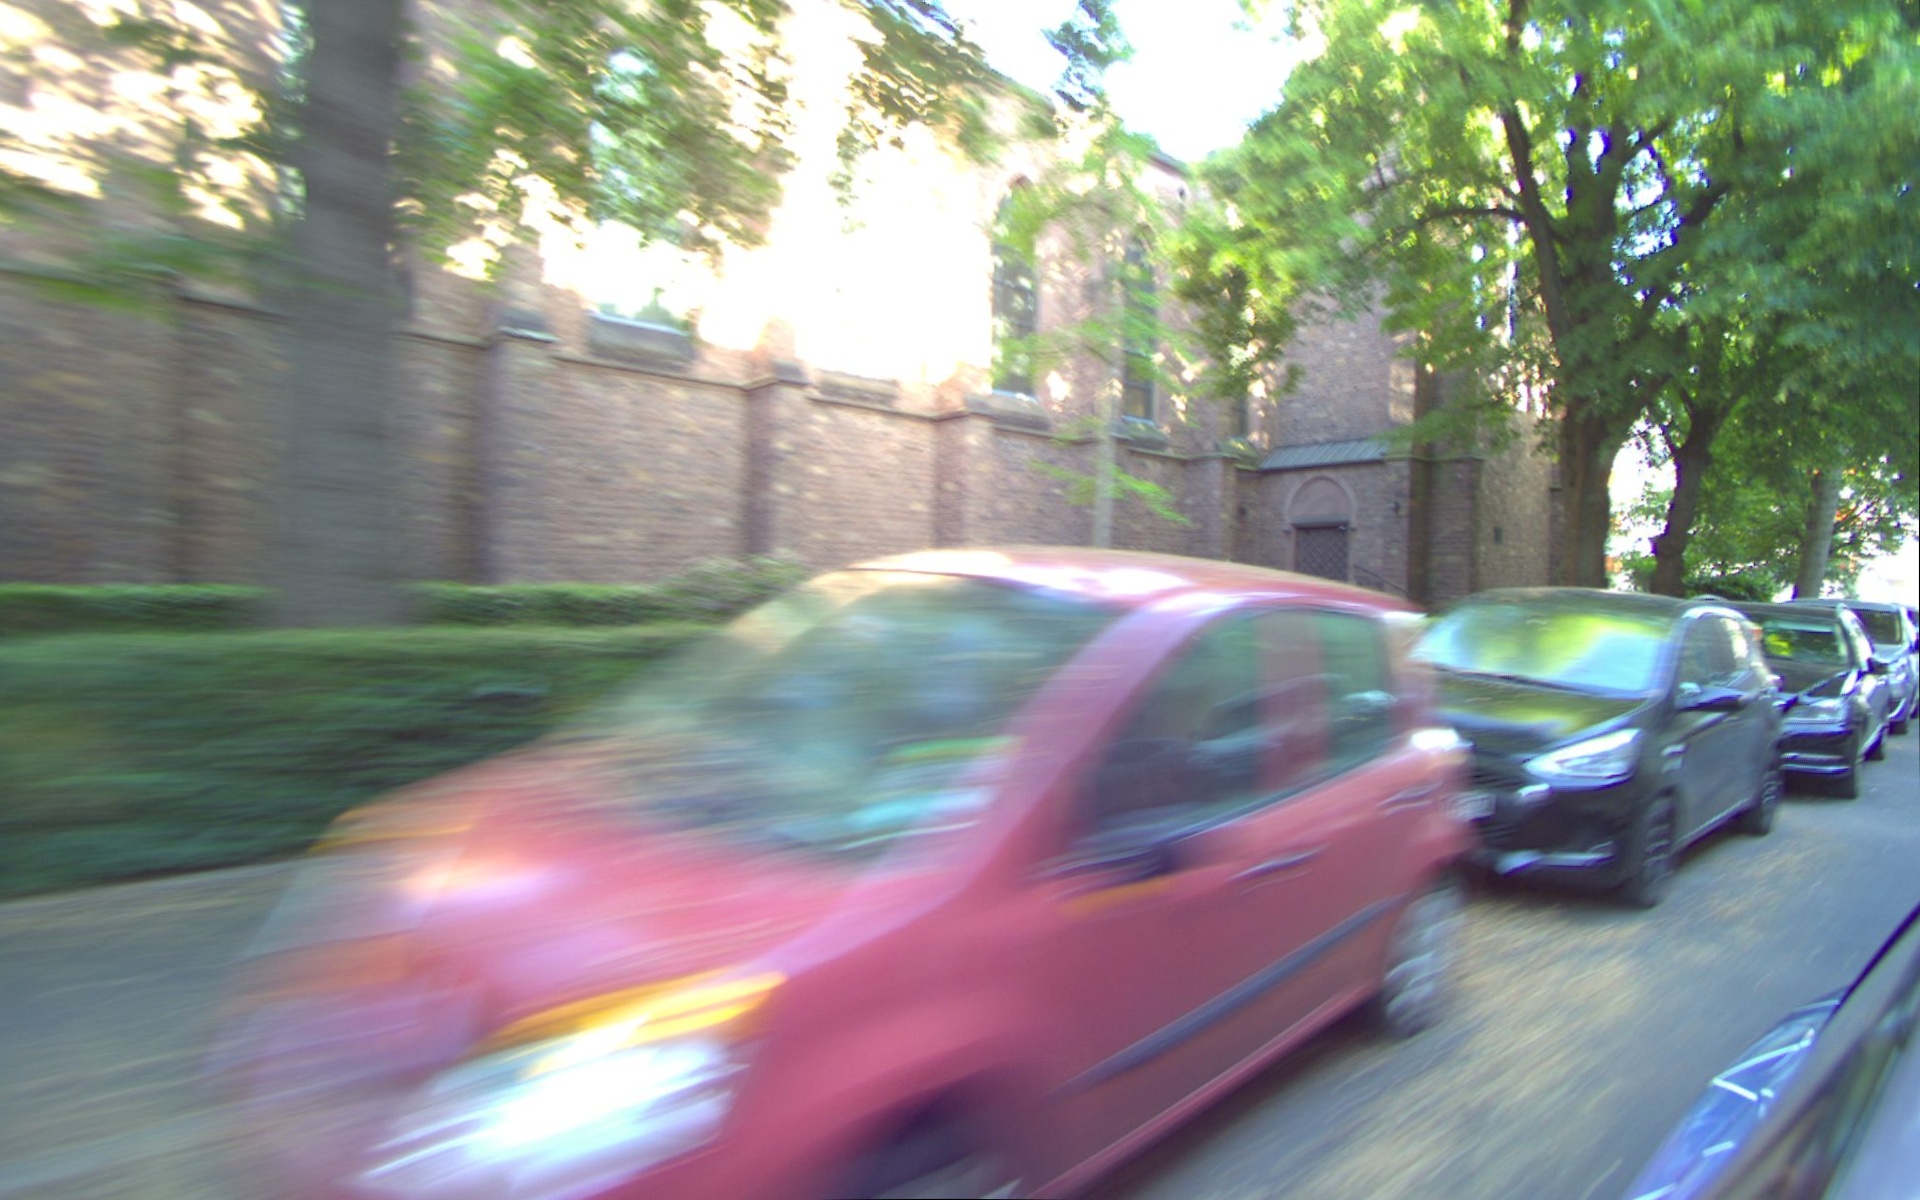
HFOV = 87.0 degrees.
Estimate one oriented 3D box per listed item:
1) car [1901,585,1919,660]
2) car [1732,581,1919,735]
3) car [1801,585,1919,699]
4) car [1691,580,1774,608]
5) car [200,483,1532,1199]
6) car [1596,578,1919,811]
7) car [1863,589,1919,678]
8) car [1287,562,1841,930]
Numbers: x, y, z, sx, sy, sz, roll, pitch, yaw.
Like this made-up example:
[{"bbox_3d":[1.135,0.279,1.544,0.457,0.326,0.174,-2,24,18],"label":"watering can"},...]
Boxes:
[{"bbox_3d":[21.806,0.522,21.872,3.655,1.522,1.604,-1,6,-40],"label":"car"},{"bbox_3d":[11.131,0.592,12.640,3.566,1.522,1.603,-1,6,-42],"label":"car"},{"bbox_3d":[14.591,0.588,15.750,3.501,1.485,1.604,-1,6,-40],"label":"car"},{"bbox_3d":[45.856,-0.384,60.138,1.621,1.577,3.692,-3,3,-41],"label":"car"},{"bbox_3d":[0.178,0.608,3.063,3.801,1.643,1.621,-1,7,-45],"label":"car"},{"bbox_3d":[7.428,0.606,9.205,4.620,1.458,1.678,-1,7,-45],"label":"car"},{"bbox_3d":[18.205,0.591,18.768,3.801,1.488,1.603,-1,4,-40],"label":"car"},{"bbox_3d":[3.840,0.610,6.216,3.708,1.503,1.624,0,6,-39],"label":"car"}]
